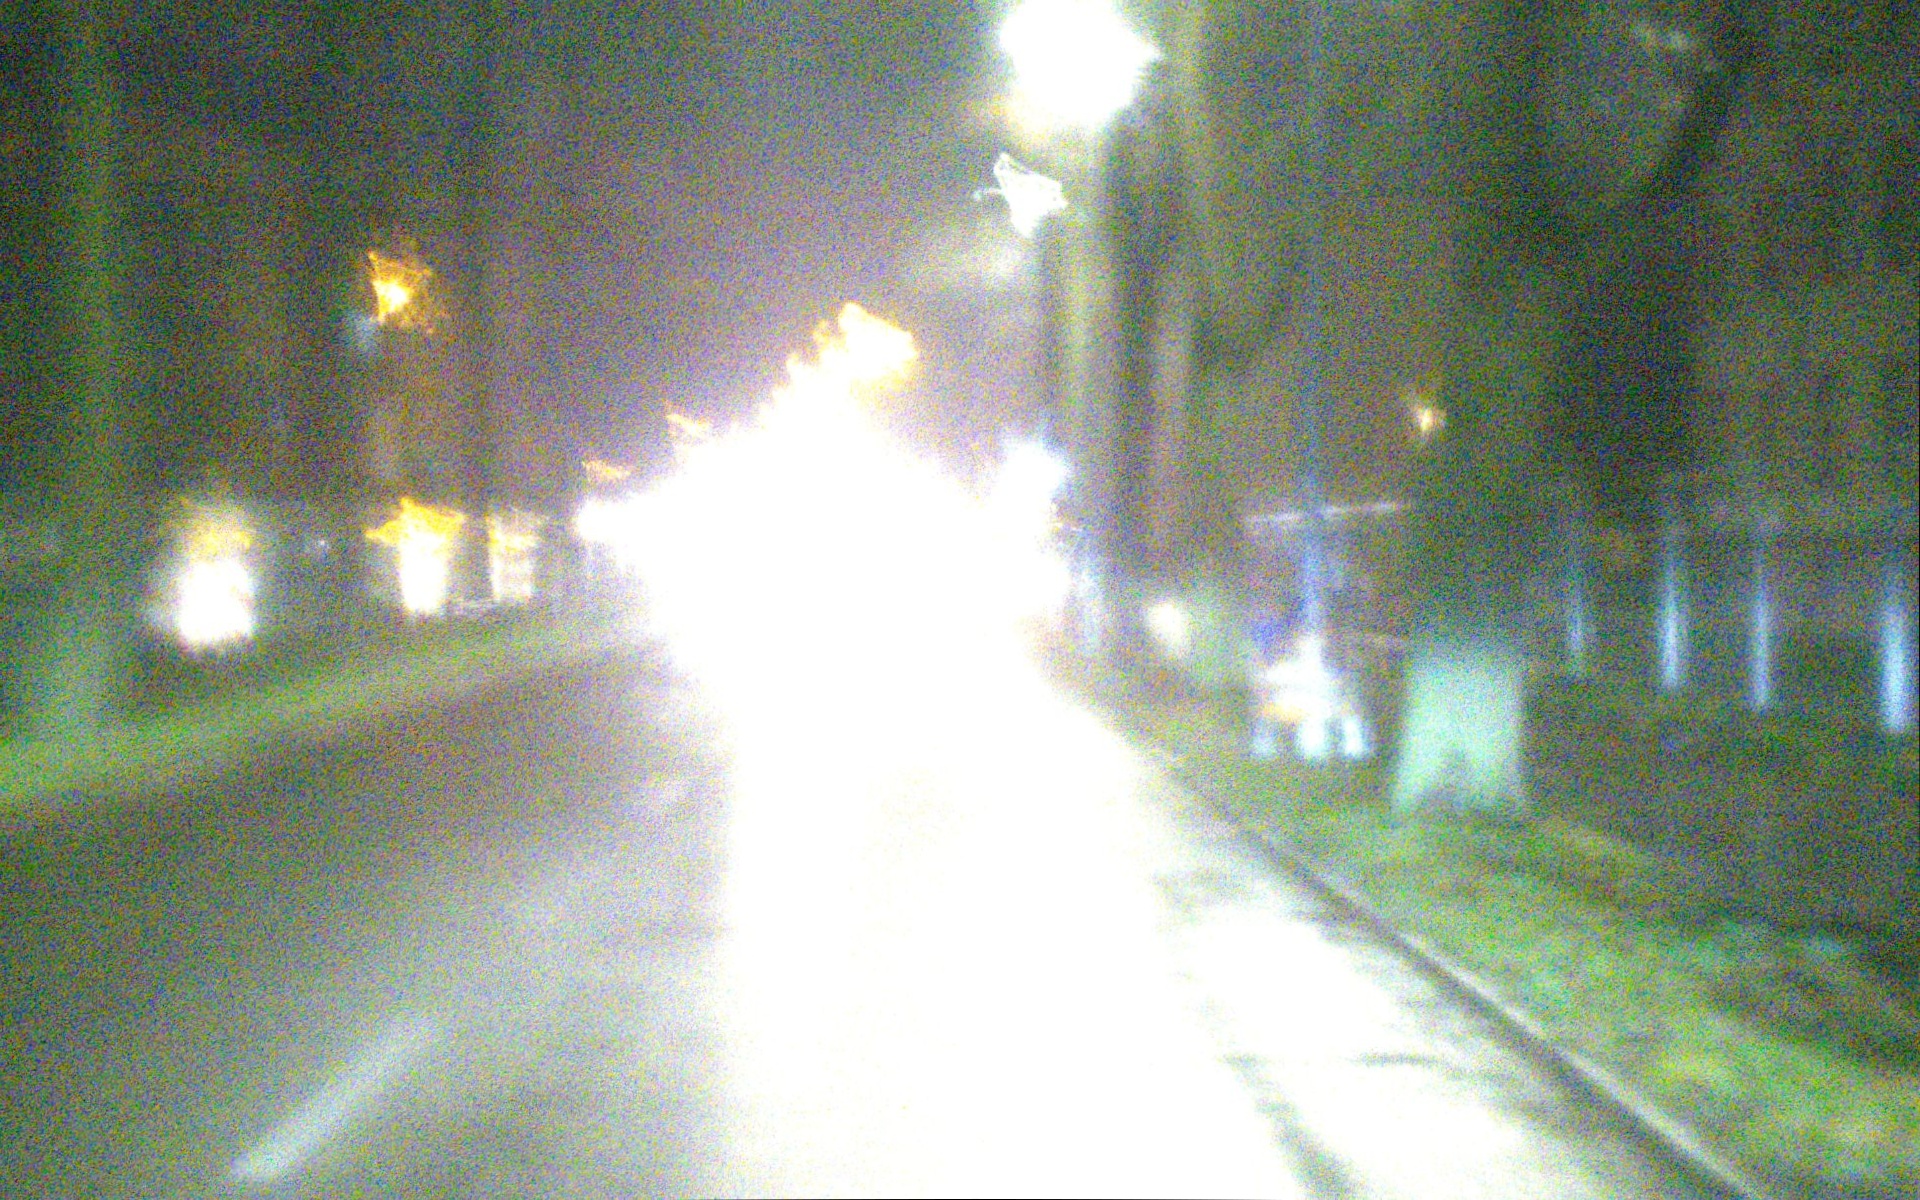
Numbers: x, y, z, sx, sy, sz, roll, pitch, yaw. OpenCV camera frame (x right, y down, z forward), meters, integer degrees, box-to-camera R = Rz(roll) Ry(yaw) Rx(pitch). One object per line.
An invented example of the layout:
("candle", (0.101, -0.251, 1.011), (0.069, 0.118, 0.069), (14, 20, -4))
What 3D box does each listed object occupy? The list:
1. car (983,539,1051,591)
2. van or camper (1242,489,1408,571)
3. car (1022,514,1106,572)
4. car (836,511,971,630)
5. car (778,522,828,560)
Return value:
("car", (1.732, -1.091, 105.799), (1.713, 1.483, 4.437), (-1, 1, -4))
("van or camper", (11.625, -2.243, 109.840), (5.062, 2.518, 2.172), (-1, 2, 0))
("car", (2.833, -1.585, 94.694), (1.789, 1.444, 4.792), (-2, 2, -4))
("car", (-0.896, -0.483, 52.717), (1.993, 1.678, 4.001), (0, 3, -2))
("car", (-6.106, -2.298, 133.976), (1.745, 1.428, 4.000), (-1, 1, 0))
